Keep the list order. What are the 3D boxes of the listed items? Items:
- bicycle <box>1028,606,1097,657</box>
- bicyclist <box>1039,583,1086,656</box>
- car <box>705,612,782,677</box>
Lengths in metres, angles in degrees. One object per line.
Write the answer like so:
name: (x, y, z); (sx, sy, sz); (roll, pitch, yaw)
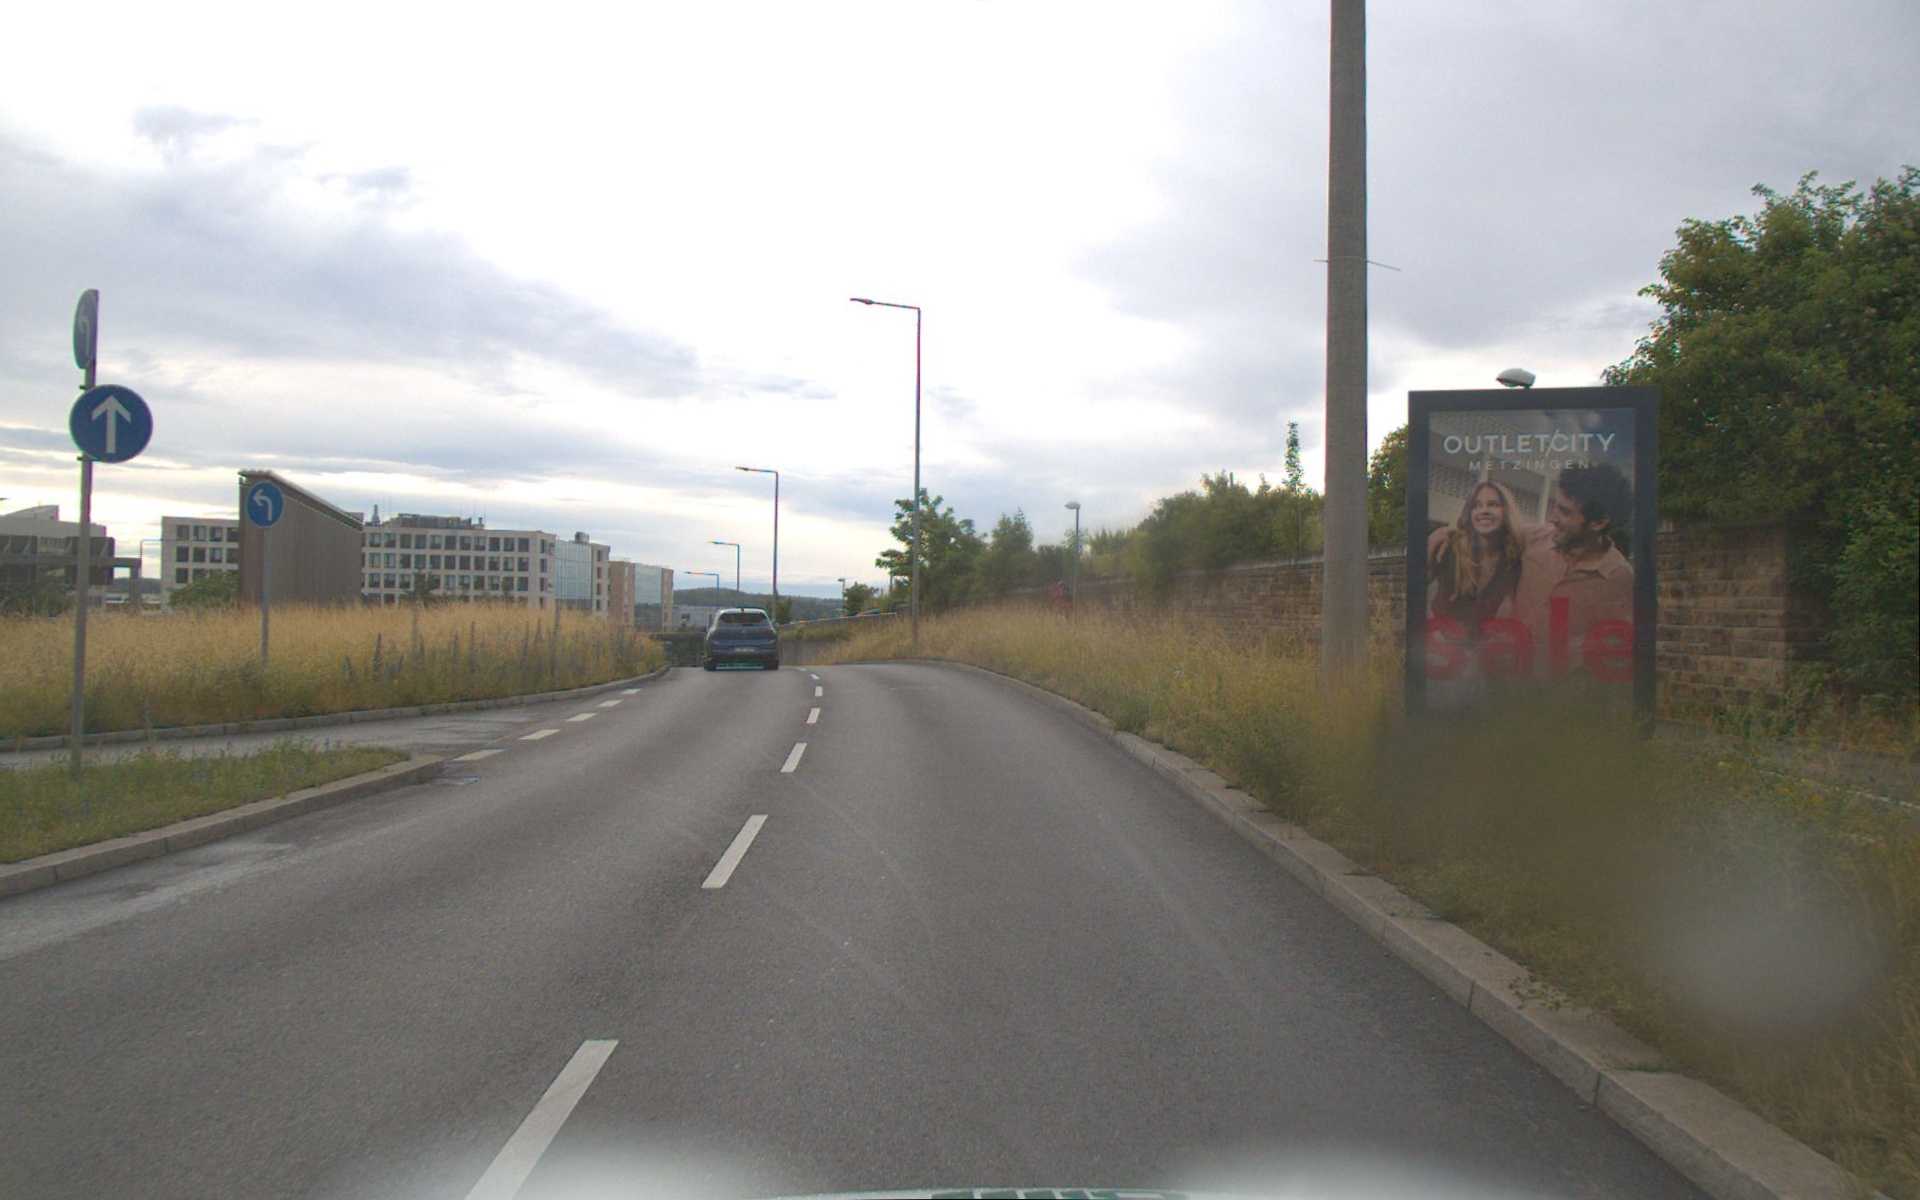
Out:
bicycle: (2.793, 0.881, 45.572); (0.854, 1.311, 3.473); (3, -2, -14)
bicyclist: (2.814, 0.546, 45.500); (0.854, 1.942, 1.289); (3, -2, -14)
car: (-5.314, 1.057, 40.369); (1.716, 1.445, 3.471); (3, -1, -9)
